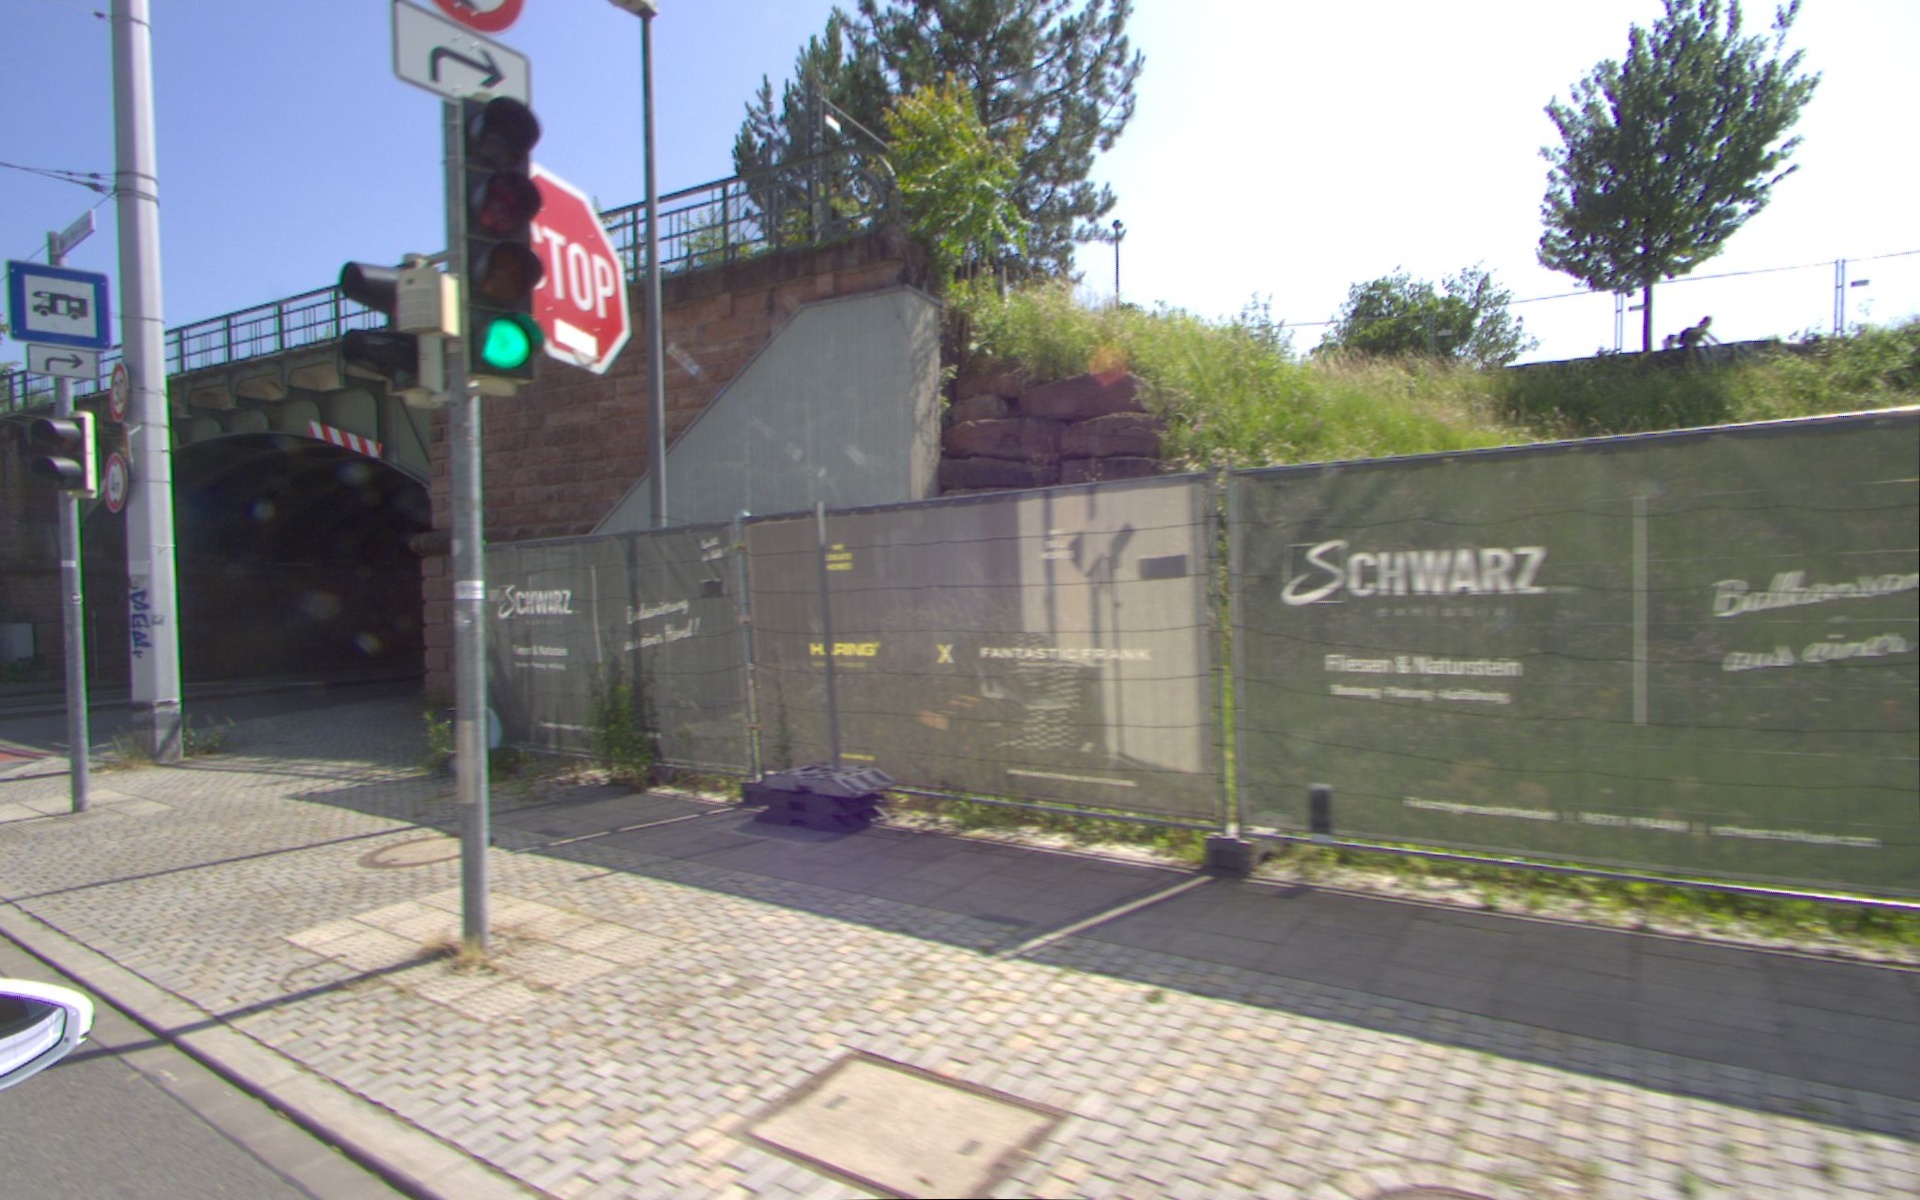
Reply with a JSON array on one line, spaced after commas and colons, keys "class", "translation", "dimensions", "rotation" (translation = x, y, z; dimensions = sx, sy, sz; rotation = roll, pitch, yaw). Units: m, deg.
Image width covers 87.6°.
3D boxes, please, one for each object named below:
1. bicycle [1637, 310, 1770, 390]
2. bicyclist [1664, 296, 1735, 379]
[{"class": "bicycle", "translation": [16.012, -5.373, 21.649], "dimensions": [2.139, 1.229, 0.934], "rotation": [-1, -1, 26]}, {"class": "bicyclist", "translation": [15.976, -5.653, 21.670], "dimensions": [1.046, 1.406, 0.950], "rotation": [-1, -1, 25]}]
